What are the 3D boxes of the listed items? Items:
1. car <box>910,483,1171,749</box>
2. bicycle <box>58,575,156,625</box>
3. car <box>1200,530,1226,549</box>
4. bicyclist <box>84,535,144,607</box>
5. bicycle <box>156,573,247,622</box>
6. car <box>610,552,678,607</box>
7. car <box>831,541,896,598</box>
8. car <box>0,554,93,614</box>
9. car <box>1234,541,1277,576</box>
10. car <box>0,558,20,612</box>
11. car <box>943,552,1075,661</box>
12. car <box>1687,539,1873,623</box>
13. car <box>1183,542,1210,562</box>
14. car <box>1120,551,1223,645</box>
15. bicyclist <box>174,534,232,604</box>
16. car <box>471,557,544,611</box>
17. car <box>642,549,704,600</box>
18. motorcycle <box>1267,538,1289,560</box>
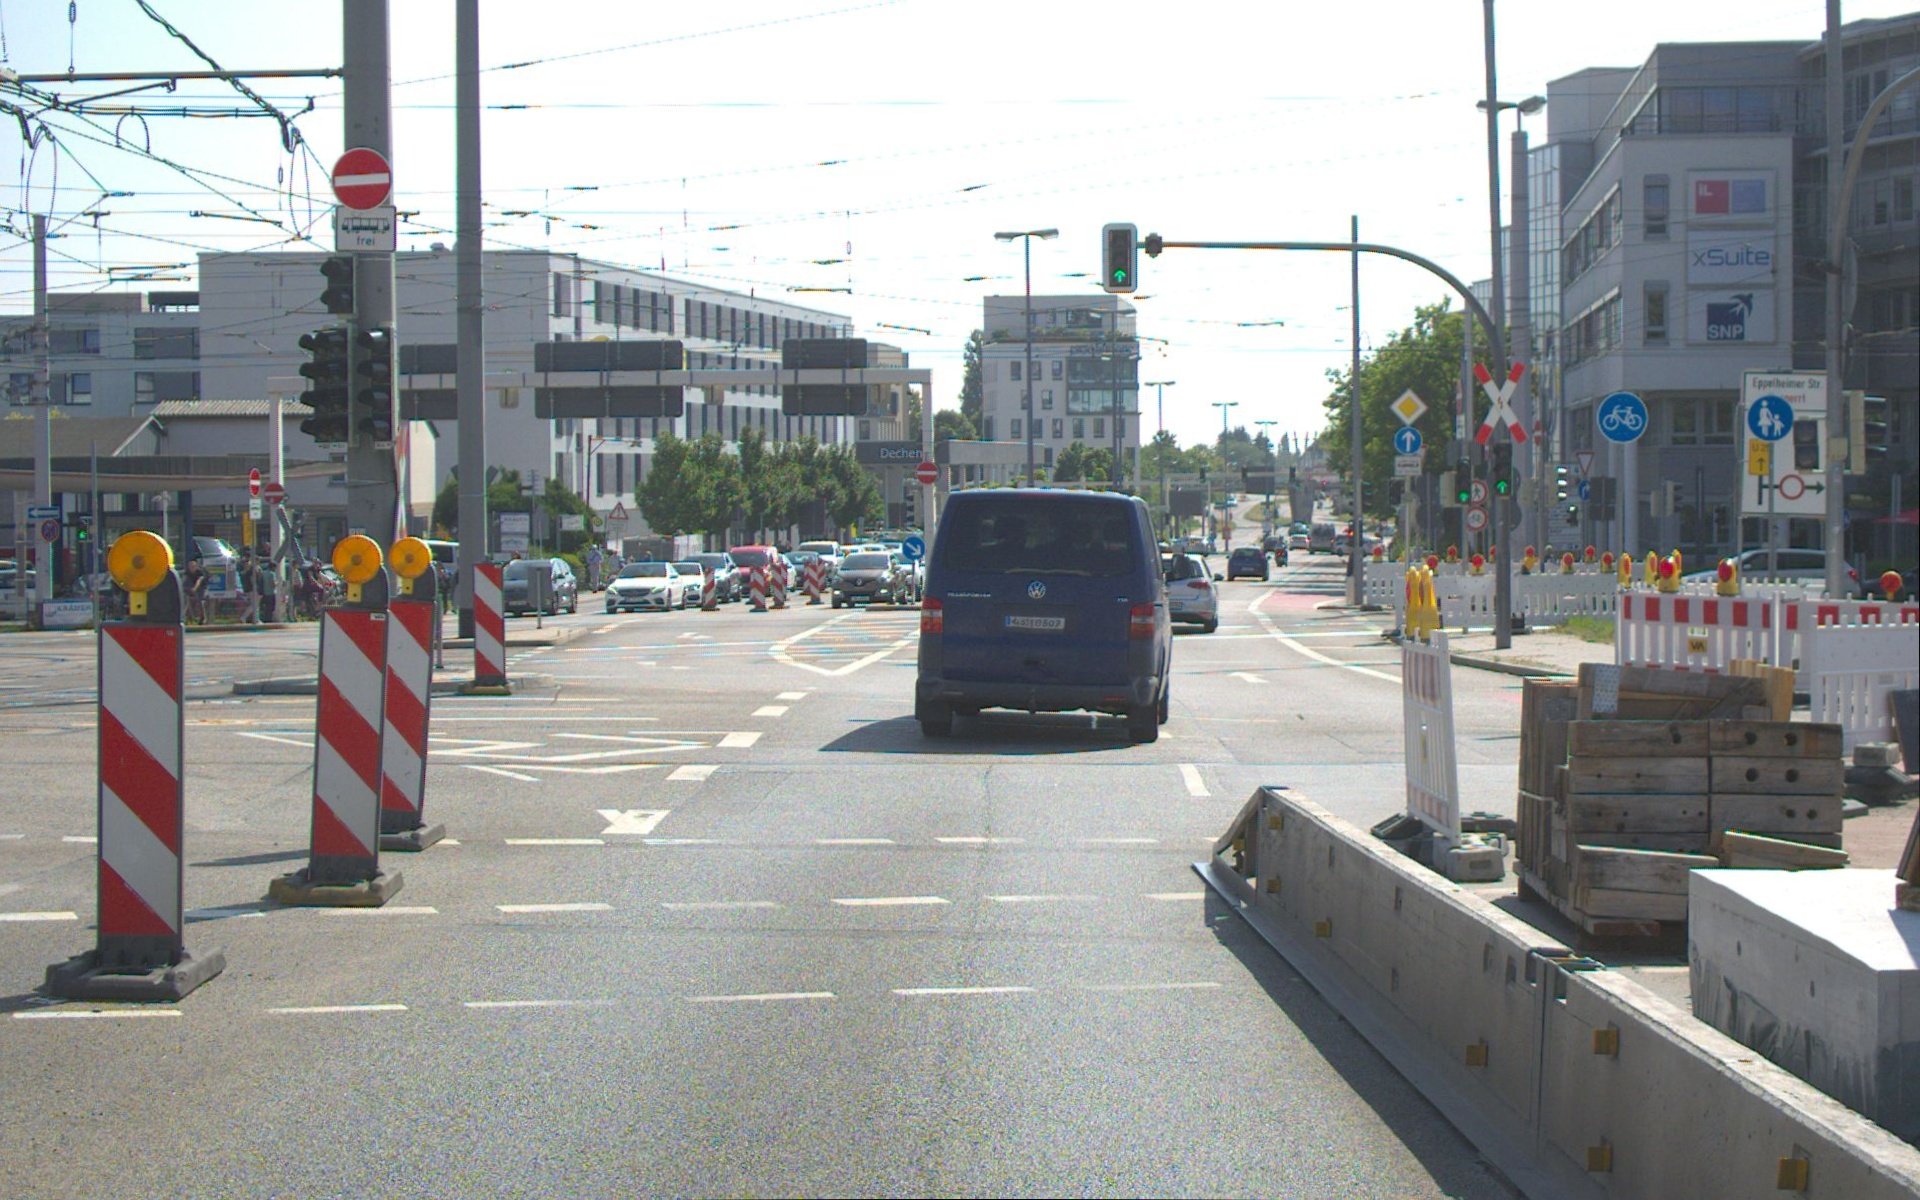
[{"bbox_3d":[0.720,0.050,27.691,1.888,1.927,4.000,2,2,4],"label":"car"},{"bbox_3d":[-19.299,-0.004,77.866,0.882,1.065,2.805,4,1,14],"label":"bicycle"},{"bbox_3d":[18.961,-4.533,257.690,1.547,1.335,3.016,1,1,-2],"label":"car"},{"bbox_3d":[-19.209,-0.658,78.074,0.876,1.573,0.969,4,1,13],"label":"bicyclist"},{"bbox_3d":[-17.710,-0.068,80.336,0.882,1.065,2.805,4,1,14],"label":"bicycle"},{"bbox_3d":[-9.080,-0.608,99.073,1.747,1.476,4.001,-1,1,-3],"label":"car"},{"bbox_3d":[-2.724,-0.879,96.789,1.747,1.525,4.001,-1,1,-3],"label":"car"},{"bbox_3d":[-24.639,-0.452,92.150,1.777,1.532,4.000,1,1,0],"label":"car"},{"bbox_3d":[12.580,-1.780,146.201,1.744,1.470,3.884,0,1,6],"label":"car"},{"bbox_3d":[-28.684,-0.434,99.722,1.777,1.532,4.000,1,1,0],"label":"car"},{"bbox_3d":[0.689,0.071,50.955,1.827,1.481,3.902,1,1,0],"label":"car"},{"bbox_3d":[18.752,-0.449,78.724,3.813,1.791,1.681,1,2,-1],"label":"car"},{"bbox_3d":[16.451,-3.345,239.133,1.547,1.335,3.016,1,1,-2],"label":"car"},{"bbox_3d":[3.974,-0.064,65.063,1.684,1.600,3.617,1,2,0],"label":"car"},{"bbox_3d":[-17.676,-0.722,80.280,0.876,1.573,0.969,4,1,13],"label":"bicyclist"},{"bbox_3d":[-13.029,-0.485,99.240,1.747,1.481,4.001,-1,1,-3],"label":"car"},{"bbox_3d":[-8.780,-0.797,105.469,1.747,1.481,4.001,-1,1,-3],"label":"car"},{"bbox_3d":[18.032,-2.897,195.090,1.162,1.238,3.007,0,1,7],"label":"motorcycle"}]
